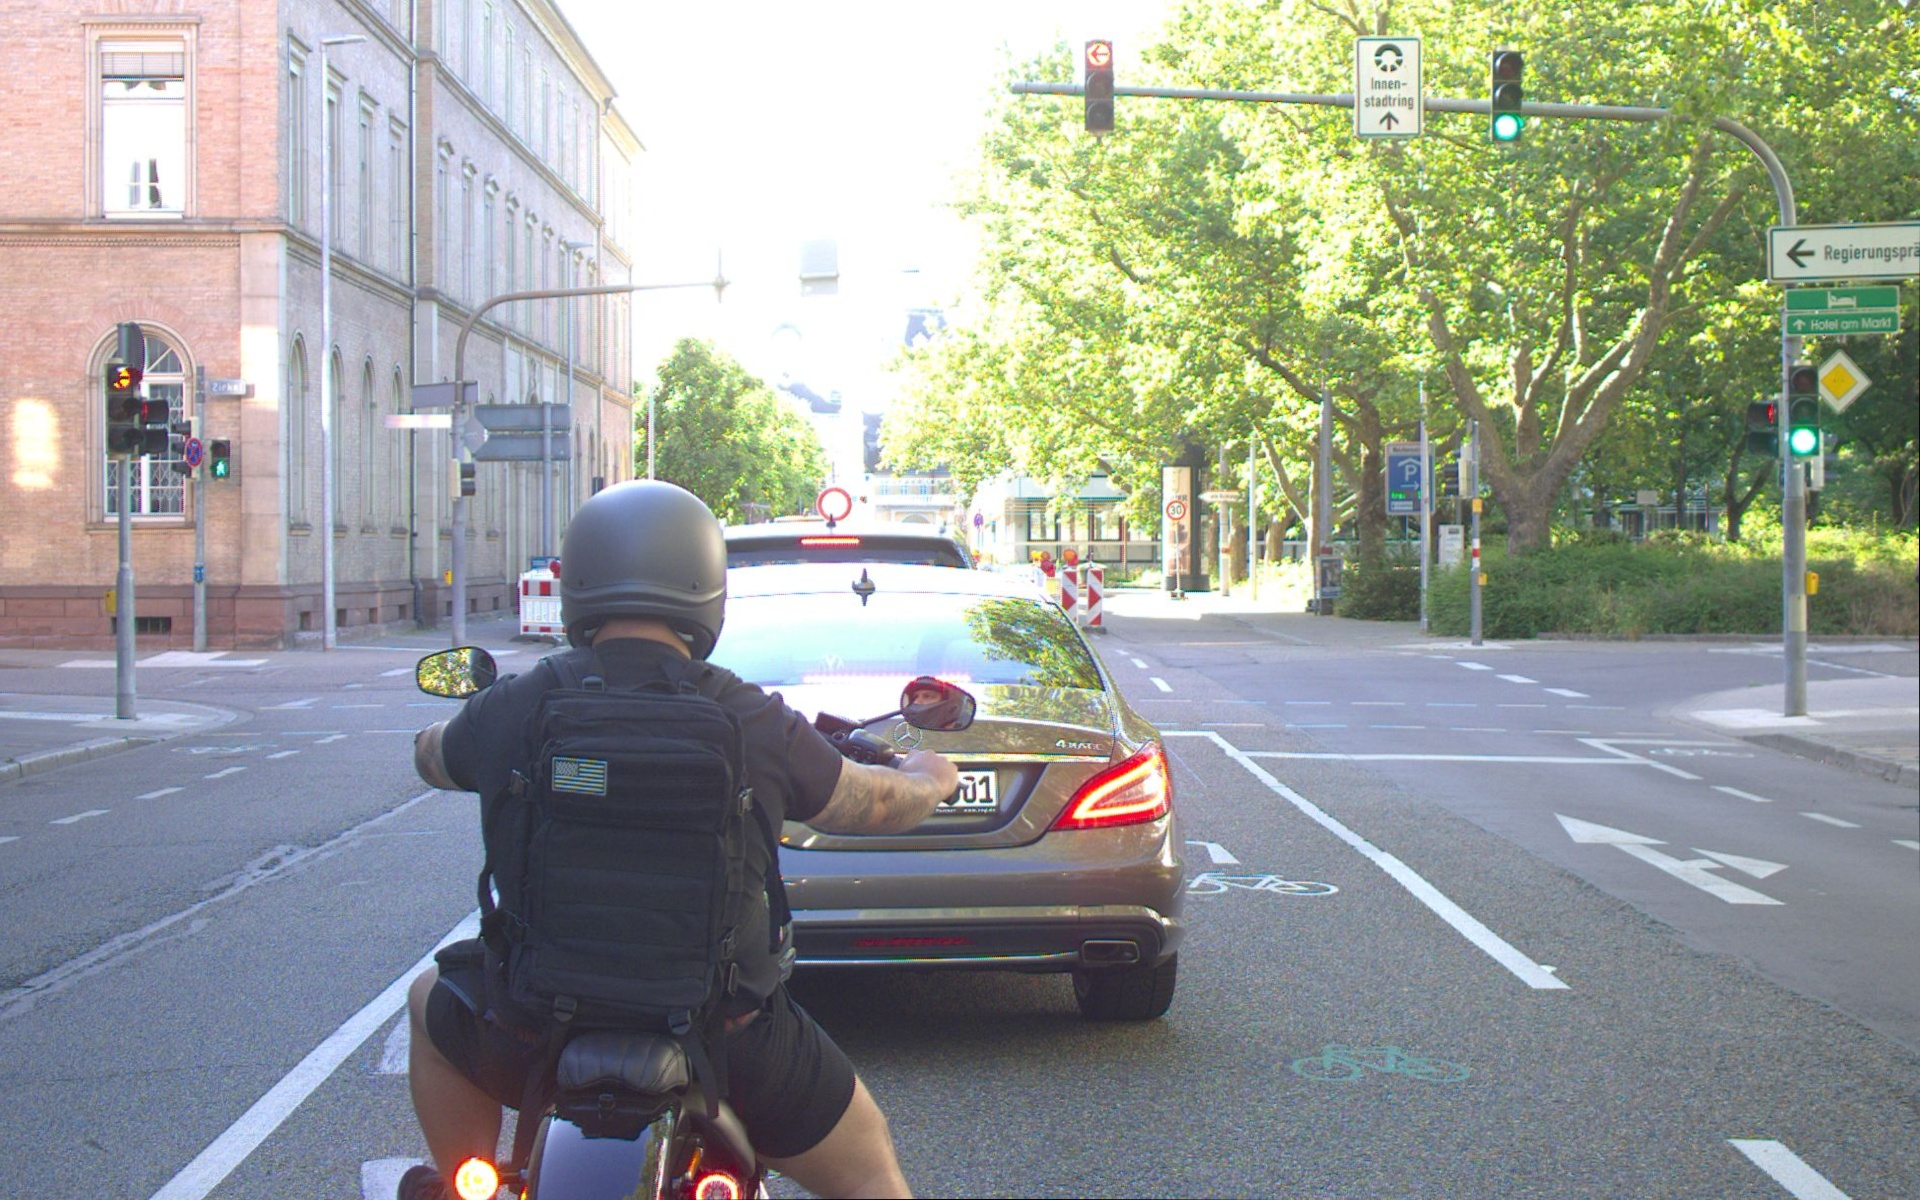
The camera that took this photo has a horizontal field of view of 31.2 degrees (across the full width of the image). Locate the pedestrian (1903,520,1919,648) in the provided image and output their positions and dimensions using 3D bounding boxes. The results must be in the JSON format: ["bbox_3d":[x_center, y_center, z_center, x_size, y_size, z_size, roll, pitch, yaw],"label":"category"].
[{"bbox_3d":[13.526,-0.218,47.753,0.678,1.766,0.616,1,0,29],"label":"pedestrian"}]

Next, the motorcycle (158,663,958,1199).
[{"bbox_3d":[-0.506,0.778,5.426,0.980,1.271,2.407,0,1,-1],"label":"motorcycle"}]

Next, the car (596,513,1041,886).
[{"bbox_3d":[-0.663,0.429,17.553,1.993,1.660,4.000,1,1,-1],"label":"car"}]

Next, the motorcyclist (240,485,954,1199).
[{"bbox_3d":[-0.505,0.617,5.362,0.980,1.573,1.248,0,1,-1],"label":"motorcyclist"}]

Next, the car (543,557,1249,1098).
[{"bbox_3d":[-0.429,0.587,11.631,1.869,1.439,4.431,0,1,-8],"label":"car"}]
